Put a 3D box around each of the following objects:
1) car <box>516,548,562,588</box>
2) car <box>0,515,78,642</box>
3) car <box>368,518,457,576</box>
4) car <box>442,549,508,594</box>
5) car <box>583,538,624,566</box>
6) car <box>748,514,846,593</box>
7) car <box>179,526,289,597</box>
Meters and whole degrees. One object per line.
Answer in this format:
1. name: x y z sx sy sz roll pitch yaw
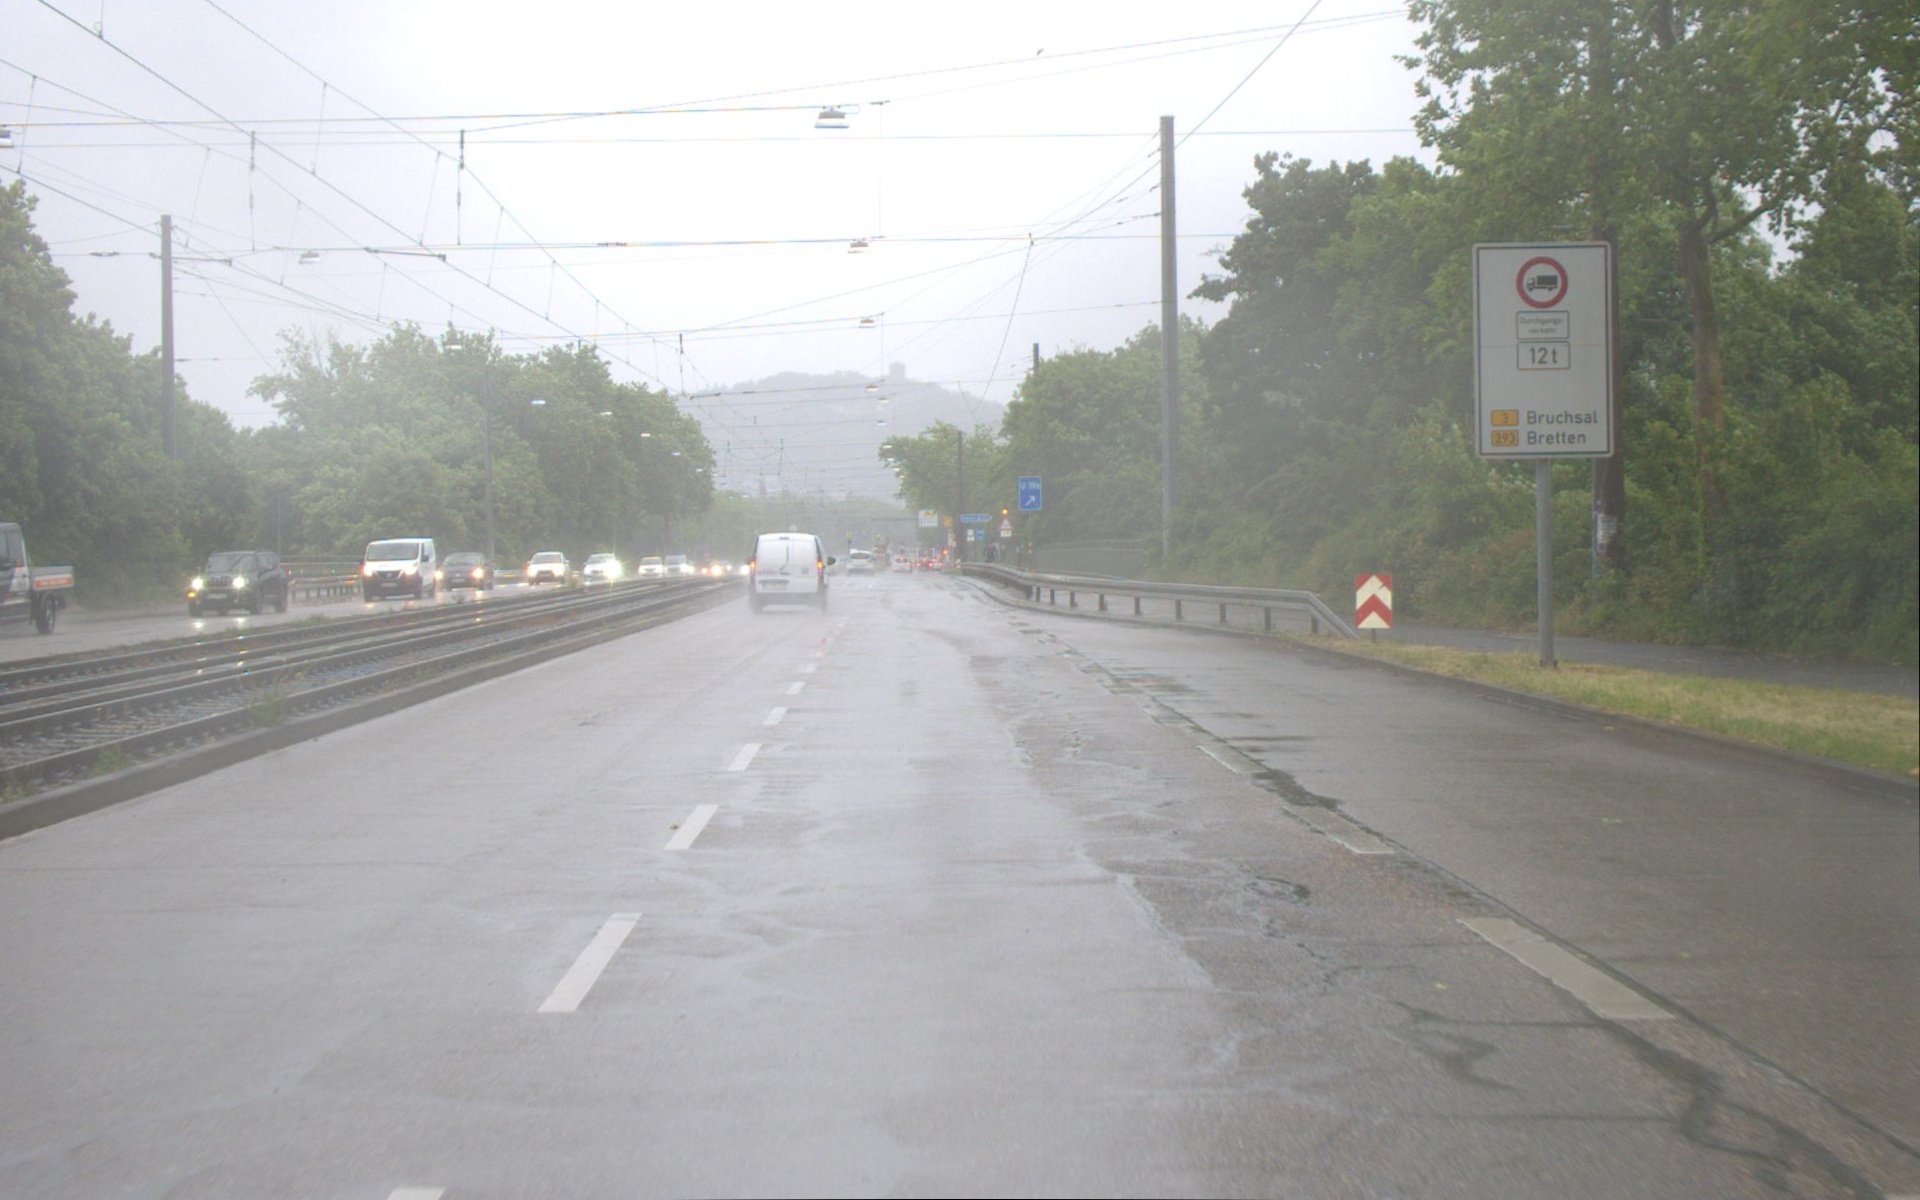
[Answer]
1. car: -19.570 -1.502 159.862 1.754 1.705 4.001 1 2 -1
2. car: -19.571 -0.488 68.982 2.099 2.335 6.991 1 2 -1
3. car: -17.931 -1.767 112.775 2.040 1.769 4.986 1 2 1
4. car: -18.321 -1.093 130.118 1.689 1.513 4.611 1 2 2
5. car: -19.424 -2.620 187.329 1.797 1.448 4.195 1 2 0
6. car: -3.689 -1.080 78.385 1.989 1.678 3.740 1 2 1
7. car: -18.789 -1.017 89.109 1.841 1.711 4.163 1 2 2
